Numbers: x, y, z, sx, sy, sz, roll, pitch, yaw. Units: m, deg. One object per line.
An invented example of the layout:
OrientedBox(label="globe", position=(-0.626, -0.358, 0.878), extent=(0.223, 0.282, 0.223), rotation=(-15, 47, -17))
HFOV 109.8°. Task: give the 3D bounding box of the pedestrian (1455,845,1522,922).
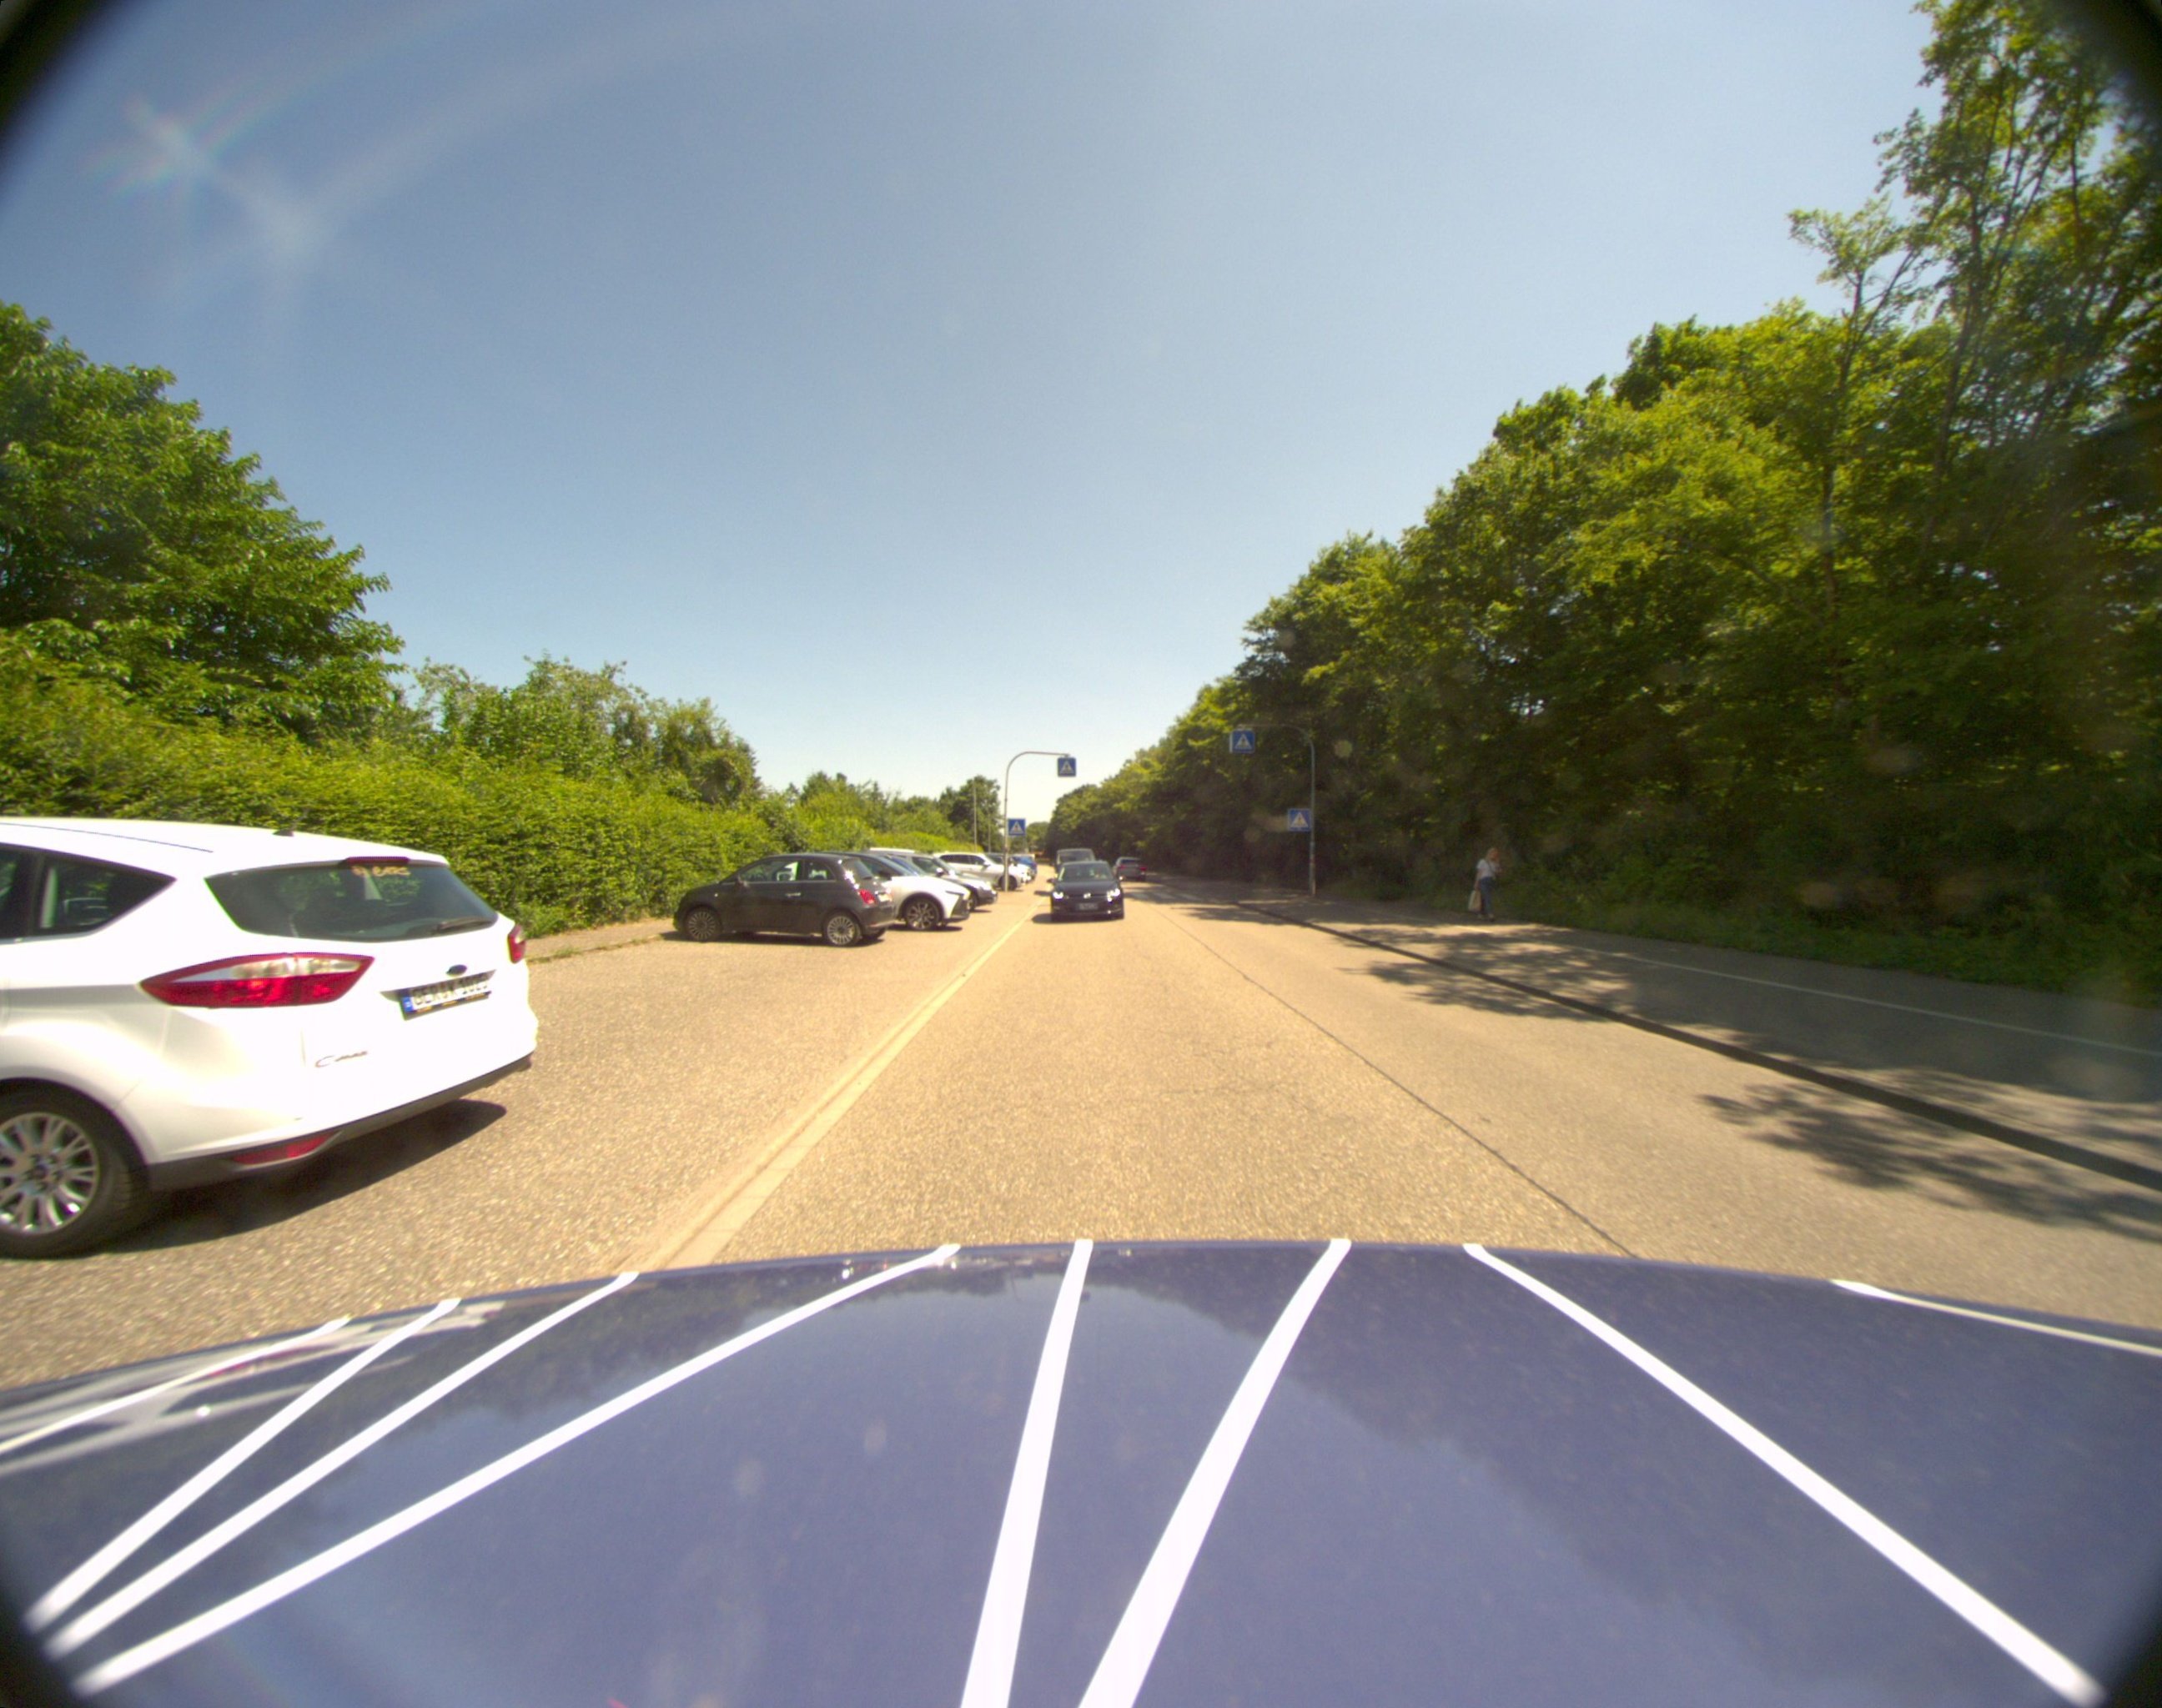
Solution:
OrientedBox(label="pedestrian", position=(8.750, 0.618, 16.353), extent=(0.934, 1.603, 0.885), rotation=(-1, 1, -1))

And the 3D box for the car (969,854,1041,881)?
OrientedBox(label="car", position=(-4.401, 0.793, 44.460), extent=(4.037, 1.401, 1.679), rotation=(2, 1, -2))

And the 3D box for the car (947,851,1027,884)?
OrientedBox(label="car", position=(-5.122, 0.711, 41.655), extent=(4.171, 1.632, 1.775), rotation=(2, 1, -3))

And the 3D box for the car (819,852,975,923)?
OrientedBox(label="car", position=(-4.451, 0.808, 18.760), extent=(3.463, 1.518, 1.539), rotation=(3, 0, -5))

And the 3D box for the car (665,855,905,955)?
OrientedBox(label="car", position=(-4.898, 0.814, 12.877), extent=(3.395, 1.495, 1.588), rotation=(2, 0, 3))

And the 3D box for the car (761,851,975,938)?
OrientedBox(label="car", position=(-4.314, 0.814, 15.942), extent=(3.974, 1.514, 1.863), rotation=(3, 0, -6))

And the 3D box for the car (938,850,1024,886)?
OrientedBox(label="car", position=(-4.882, 0.667, 37.579), extent=(3.983, 1.676, 1.766), rotation=(1, 0, -1))

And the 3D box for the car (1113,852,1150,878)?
OrientedBox(label="car", position=(3.190, 0.676, 48.558), extent=(1.896, 1.523, 4.196), rotation=(3, 0, -1))

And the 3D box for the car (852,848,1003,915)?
OrientedBox(label="car", position=(-4.296, 0.768, 21.743), extent=(3.972, 1.631, 1.663), rotation=(3, 0, -4))

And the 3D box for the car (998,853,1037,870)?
OrientedBox(label="car", position=(-7.553, 0.857, 90.051), extent=(4.494, 1.840, 1.694), rotation=(2, 0, -5))

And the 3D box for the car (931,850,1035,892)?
OrientedBox(label="car", position=(-4.447, 0.753, 34.906), extent=(4.465, 1.719, 1.851), rotation=(1, 1, 0))

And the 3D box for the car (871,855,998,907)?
OrientedBox(label="car", position=(-4.688, 0.851, 24.609), extent=(3.697, 1.442, 1.610), rotation=(3, 0, 3))

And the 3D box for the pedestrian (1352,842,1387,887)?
OrientedBox(label="pedestrian", position=(12.088, 0.448, 31.853), extent=(1.086, 1.853, 0.783), rotation=(0, 0, -8))

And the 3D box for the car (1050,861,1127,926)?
OrientedBox(label="car", position=(0.097, 0.932, 19.679), extent=(1.743, 1.396, 4.387), rotation=(-2, 0, -2))

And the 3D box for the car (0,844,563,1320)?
OrientedBox(label="car", position=(-5.126, 0.756, 3.425), extent=(4.287, 1.569, 1.765), rotation=(2, 0, -2))

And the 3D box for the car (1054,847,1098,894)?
OrientedBox(label="car", position=(-0.283, 0.687, 33.448), extent=(1.743, 1.905, 4.387), rotation=(-2, 0, -2))

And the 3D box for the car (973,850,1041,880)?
OrientedBox(label="car", position=(-4.580, 0.676, 47.366), extent=(4.036, 1.632, 1.673), rotation=(2, 1, -1))
